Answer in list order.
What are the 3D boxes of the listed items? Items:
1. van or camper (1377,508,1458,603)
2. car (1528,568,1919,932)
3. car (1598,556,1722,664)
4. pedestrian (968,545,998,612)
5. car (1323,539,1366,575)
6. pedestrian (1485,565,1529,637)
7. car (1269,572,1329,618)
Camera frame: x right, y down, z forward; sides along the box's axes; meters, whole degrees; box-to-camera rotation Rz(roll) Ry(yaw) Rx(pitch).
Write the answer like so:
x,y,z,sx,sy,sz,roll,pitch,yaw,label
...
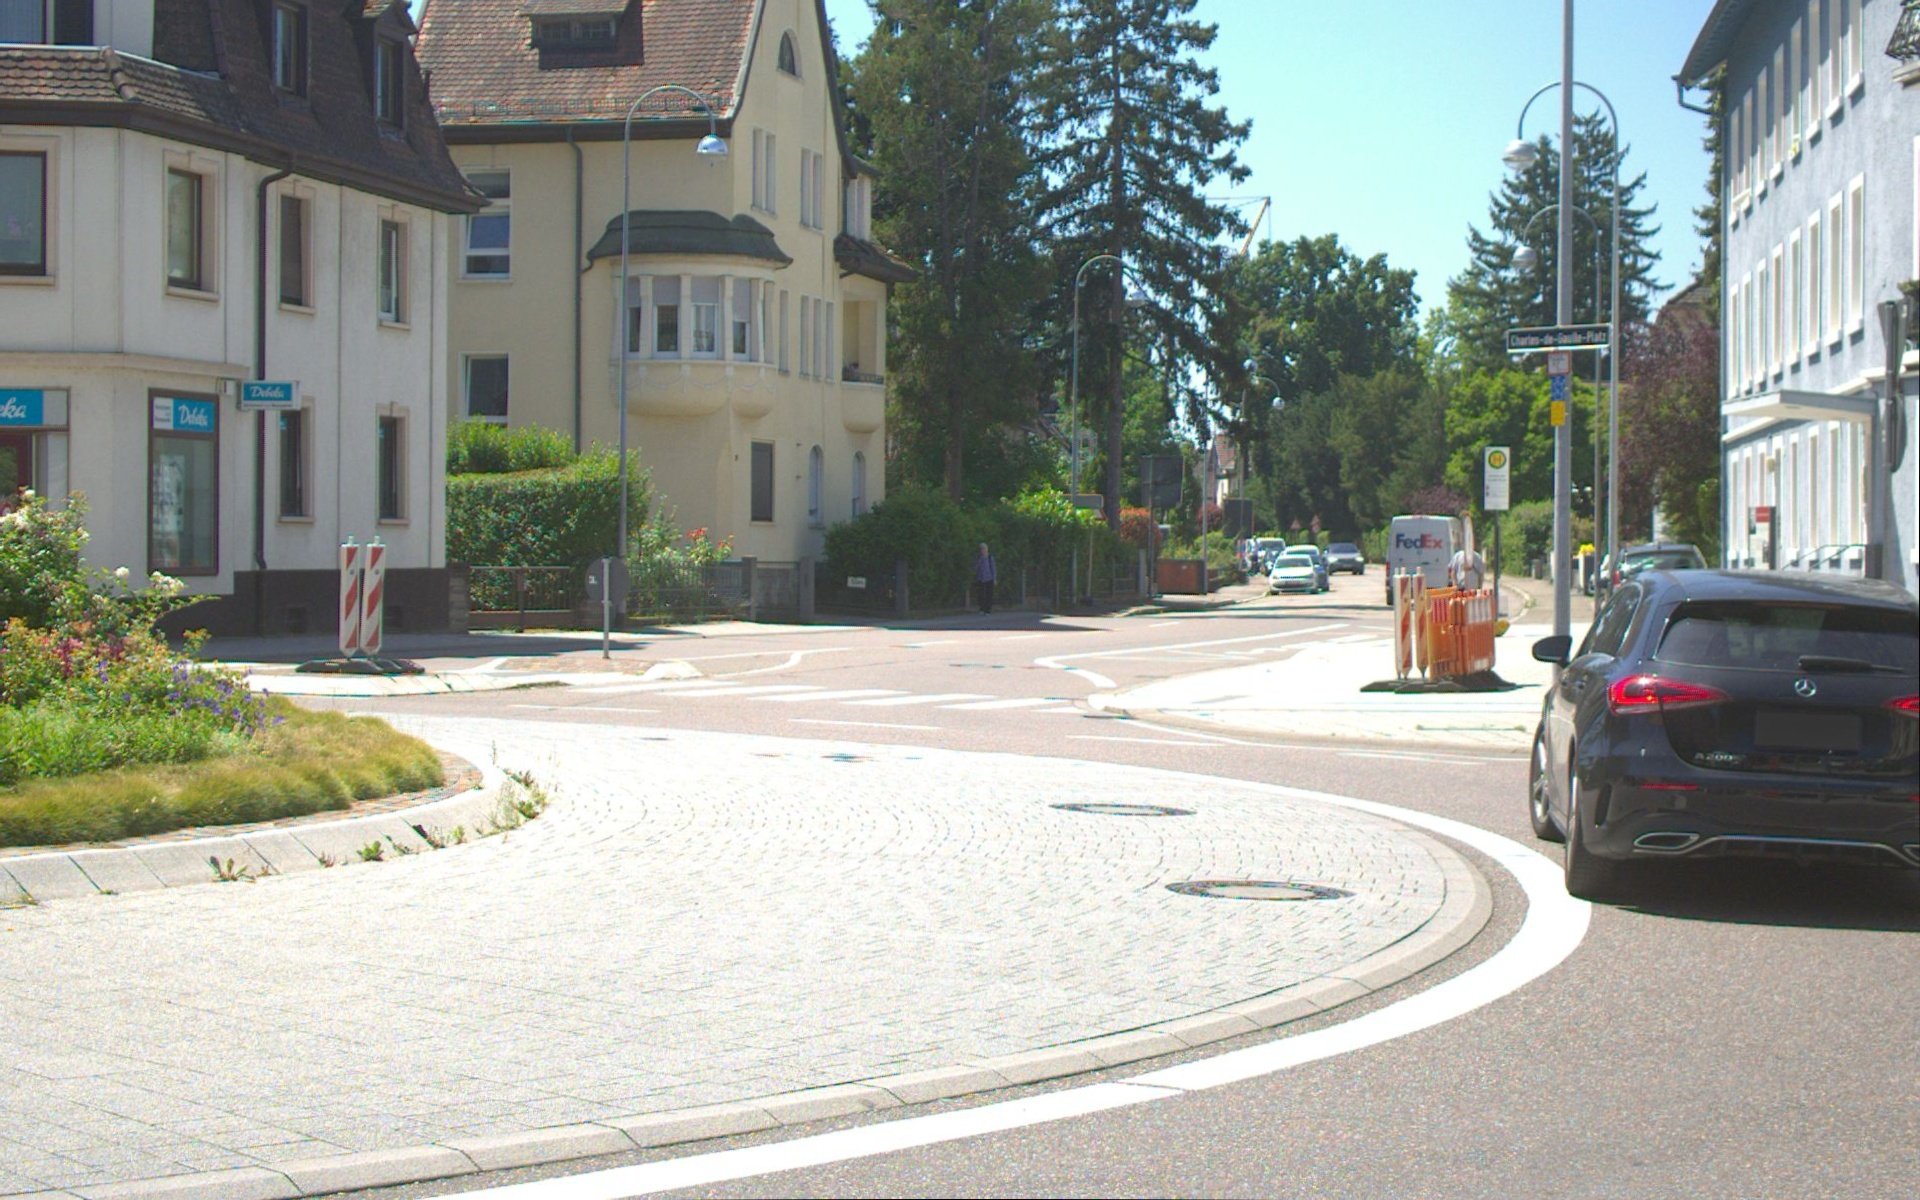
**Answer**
x,y,z,sx,sy,sz,roll,pitch,yaw,label
13.073,-1.263,98.230,2.206,2.602,3.999,1,0,8,van or camper
3.734,0.585,15.738,1.954,1.422,3.998,1,1,13,car
10.485,0.125,51.671,1.640,1.502,3.562,-2,1,9,car
0.519,-0.479,77.448,0.523,1.504,0.473,1,0,15,pedestrian
19.574,-2.177,174.909,1.994,1.711,3.998,1,0,9,car
9.962,0.017,62.586,0.667,1.281,0.586,-2,0,17,pedestrian
12.455,-0.191,126.136,1.994,1.645,3.999,1,0,8,car
